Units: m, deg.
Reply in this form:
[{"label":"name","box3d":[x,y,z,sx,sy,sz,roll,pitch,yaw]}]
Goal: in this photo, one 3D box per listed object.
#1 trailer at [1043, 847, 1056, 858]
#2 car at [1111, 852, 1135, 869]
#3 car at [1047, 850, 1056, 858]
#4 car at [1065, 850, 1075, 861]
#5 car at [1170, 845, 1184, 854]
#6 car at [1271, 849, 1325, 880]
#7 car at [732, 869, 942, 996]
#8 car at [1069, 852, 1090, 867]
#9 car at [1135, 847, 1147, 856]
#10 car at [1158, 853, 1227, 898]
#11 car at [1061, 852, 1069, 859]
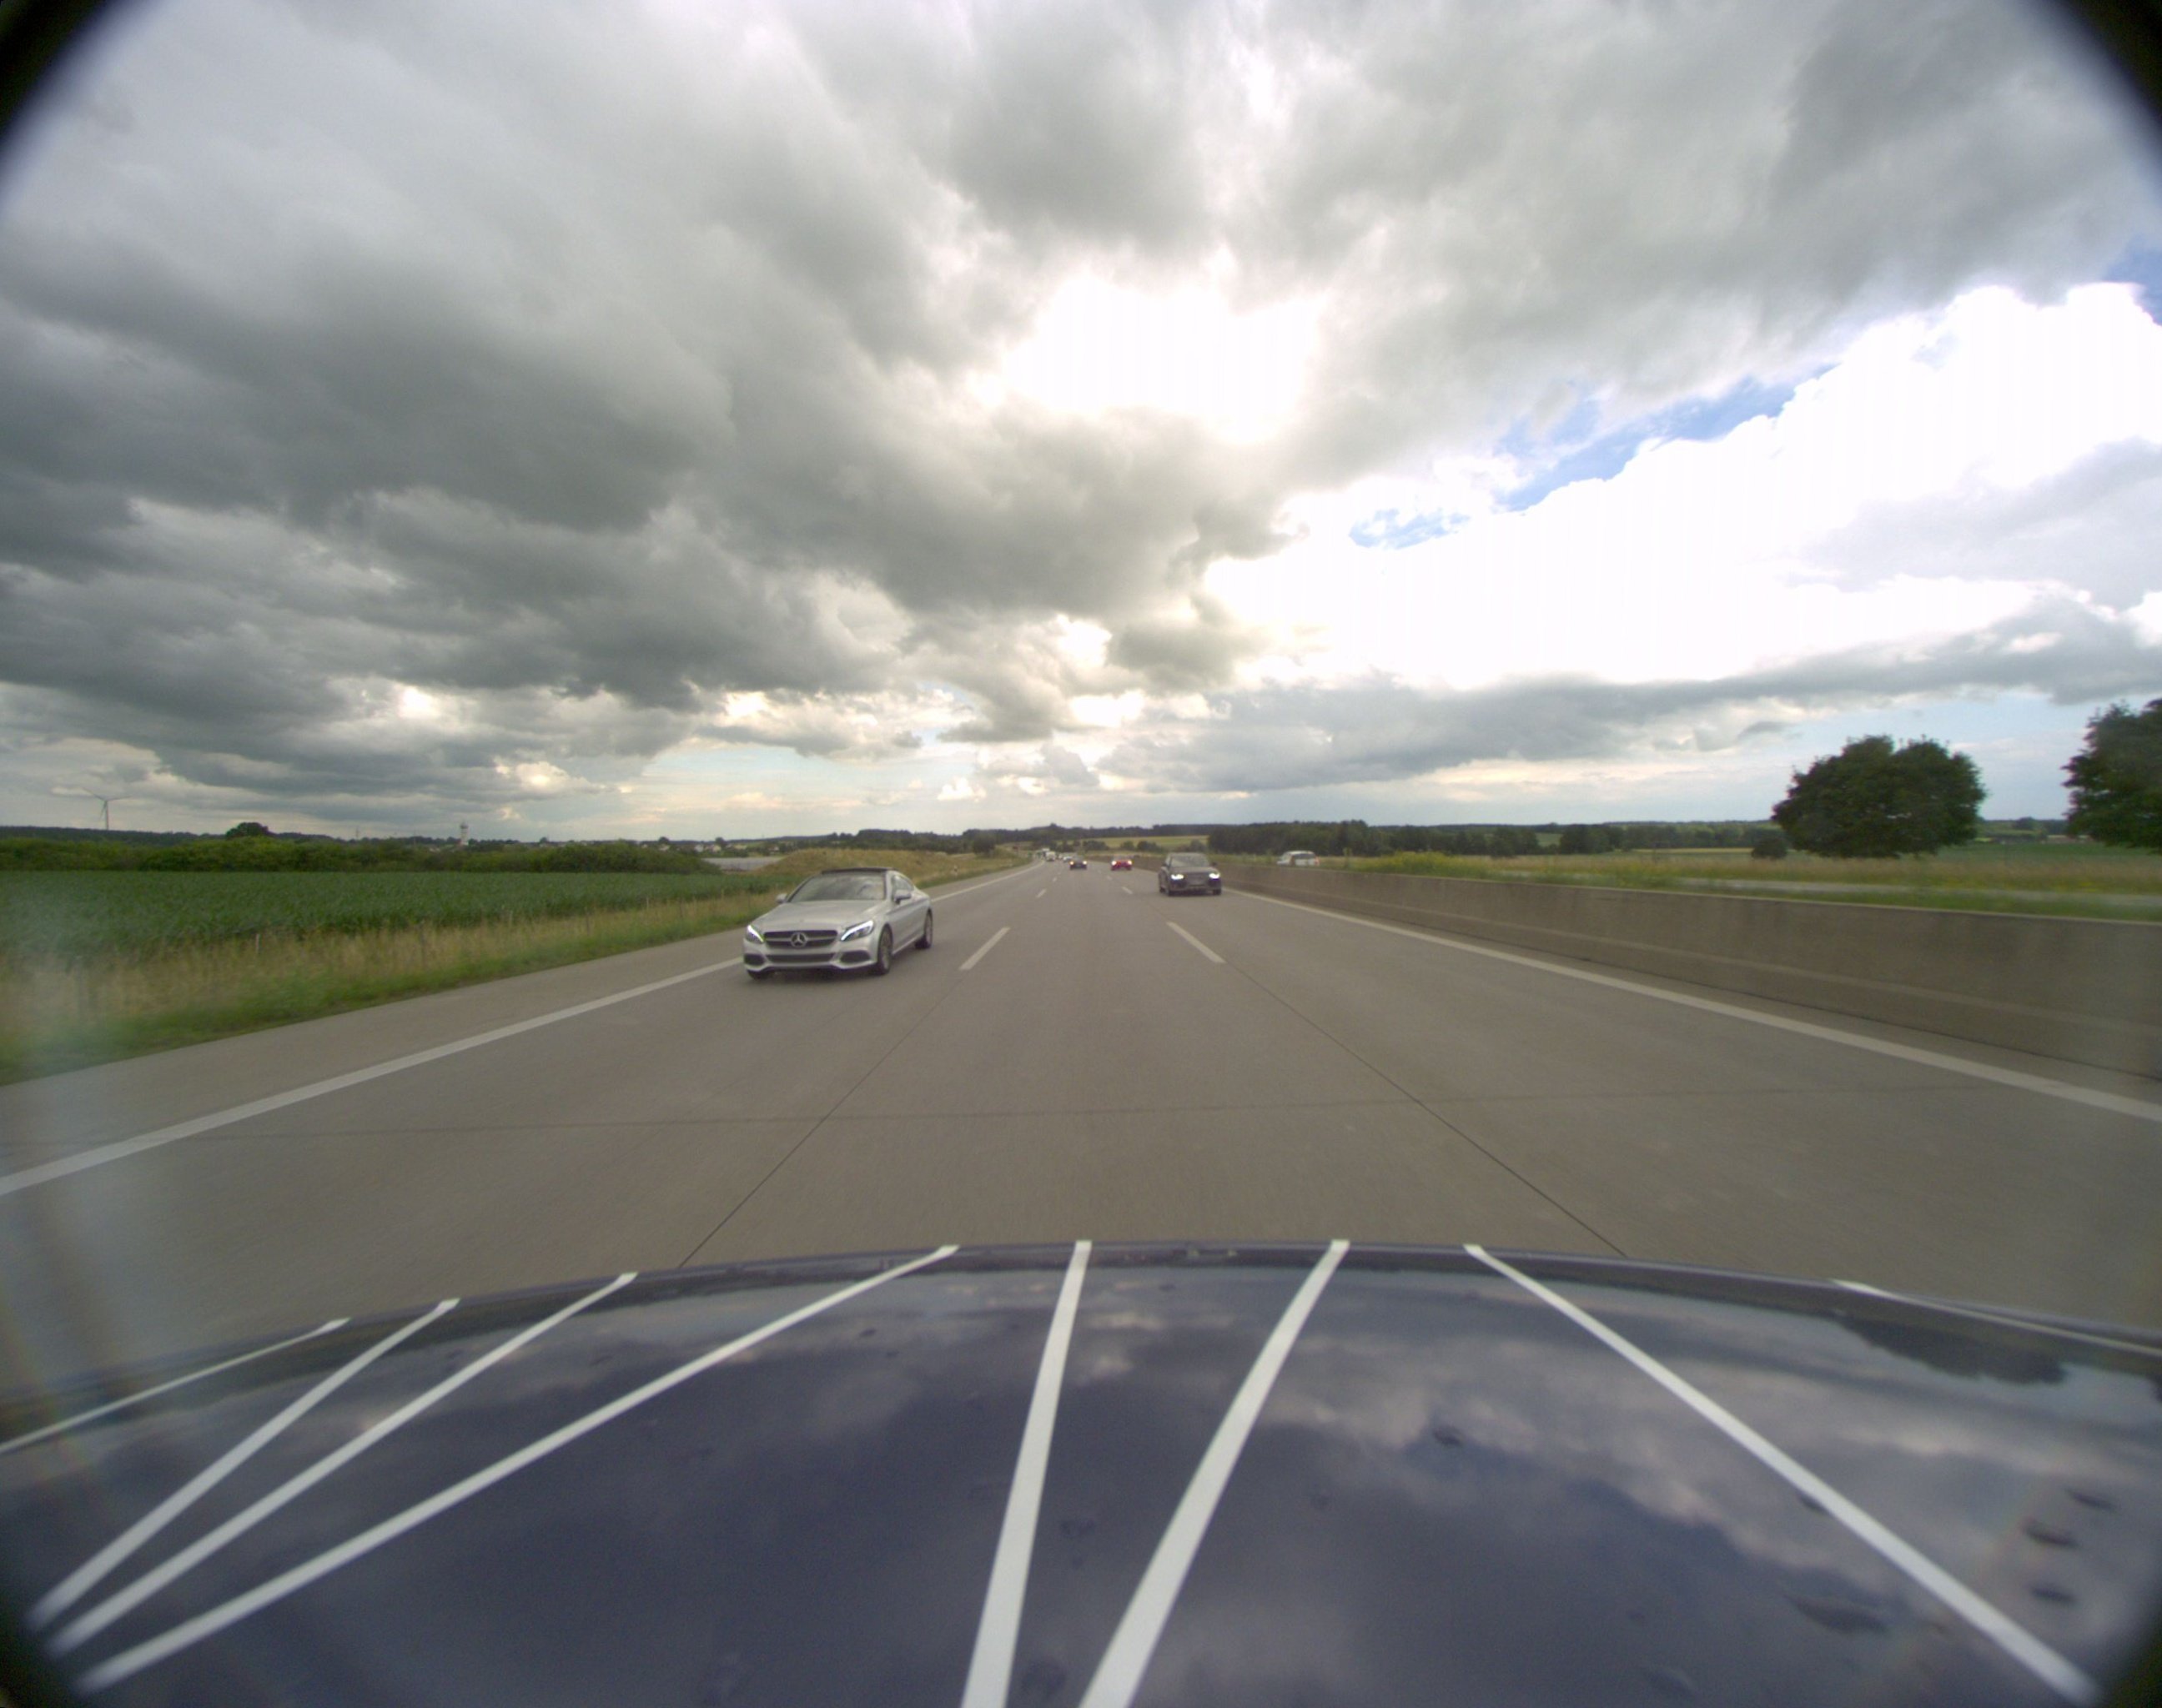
[{"label":"trailer","box3d":[-8.123,-0.387,195.858,2.616,2.519,6.716,-2,1,-7]},{"label":"car","box3d":[3.837,0.582,69.631,1.822,1.364,3.781,-3,1,-2]},{"label":"car","box3d":[-7.403,0.041,190.056,1.945,1.799,5.028,-2,1,-7]},{"label":"car","box3d":[-2.284,0.294,156.083,1.999,2.002,3.999,-2,0,-3]},{"label":"car","box3d":[18.449,-0.861,146.601,1.902,1.462,4.848,-2,1,-1]},{"label":"car","box3d":[12.453,0.561,43.879,1.929,1.626,3.999,-2,1,0]},{"label":"car","box3d":[-3.434,1.027,11.591,1.793,1.395,4.220,-2,1,0]},{"label":"car","box3d":[-0.175,0.581,79.713,1.692,1.405,3.997,-2,1,-7]},{"label":"car","box3d":[11.191,-0.440,141.773,1.717,1.547,3.768,-2,1,0]},{"label":"car","box3d":[3.909,0.713,27.263,1.939,1.464,4.000,-2,0,2]},{"label":"car","box3d":[-4.886,0.316,229.994,1.810,2.002,3.840,-3,1,-6]}]
